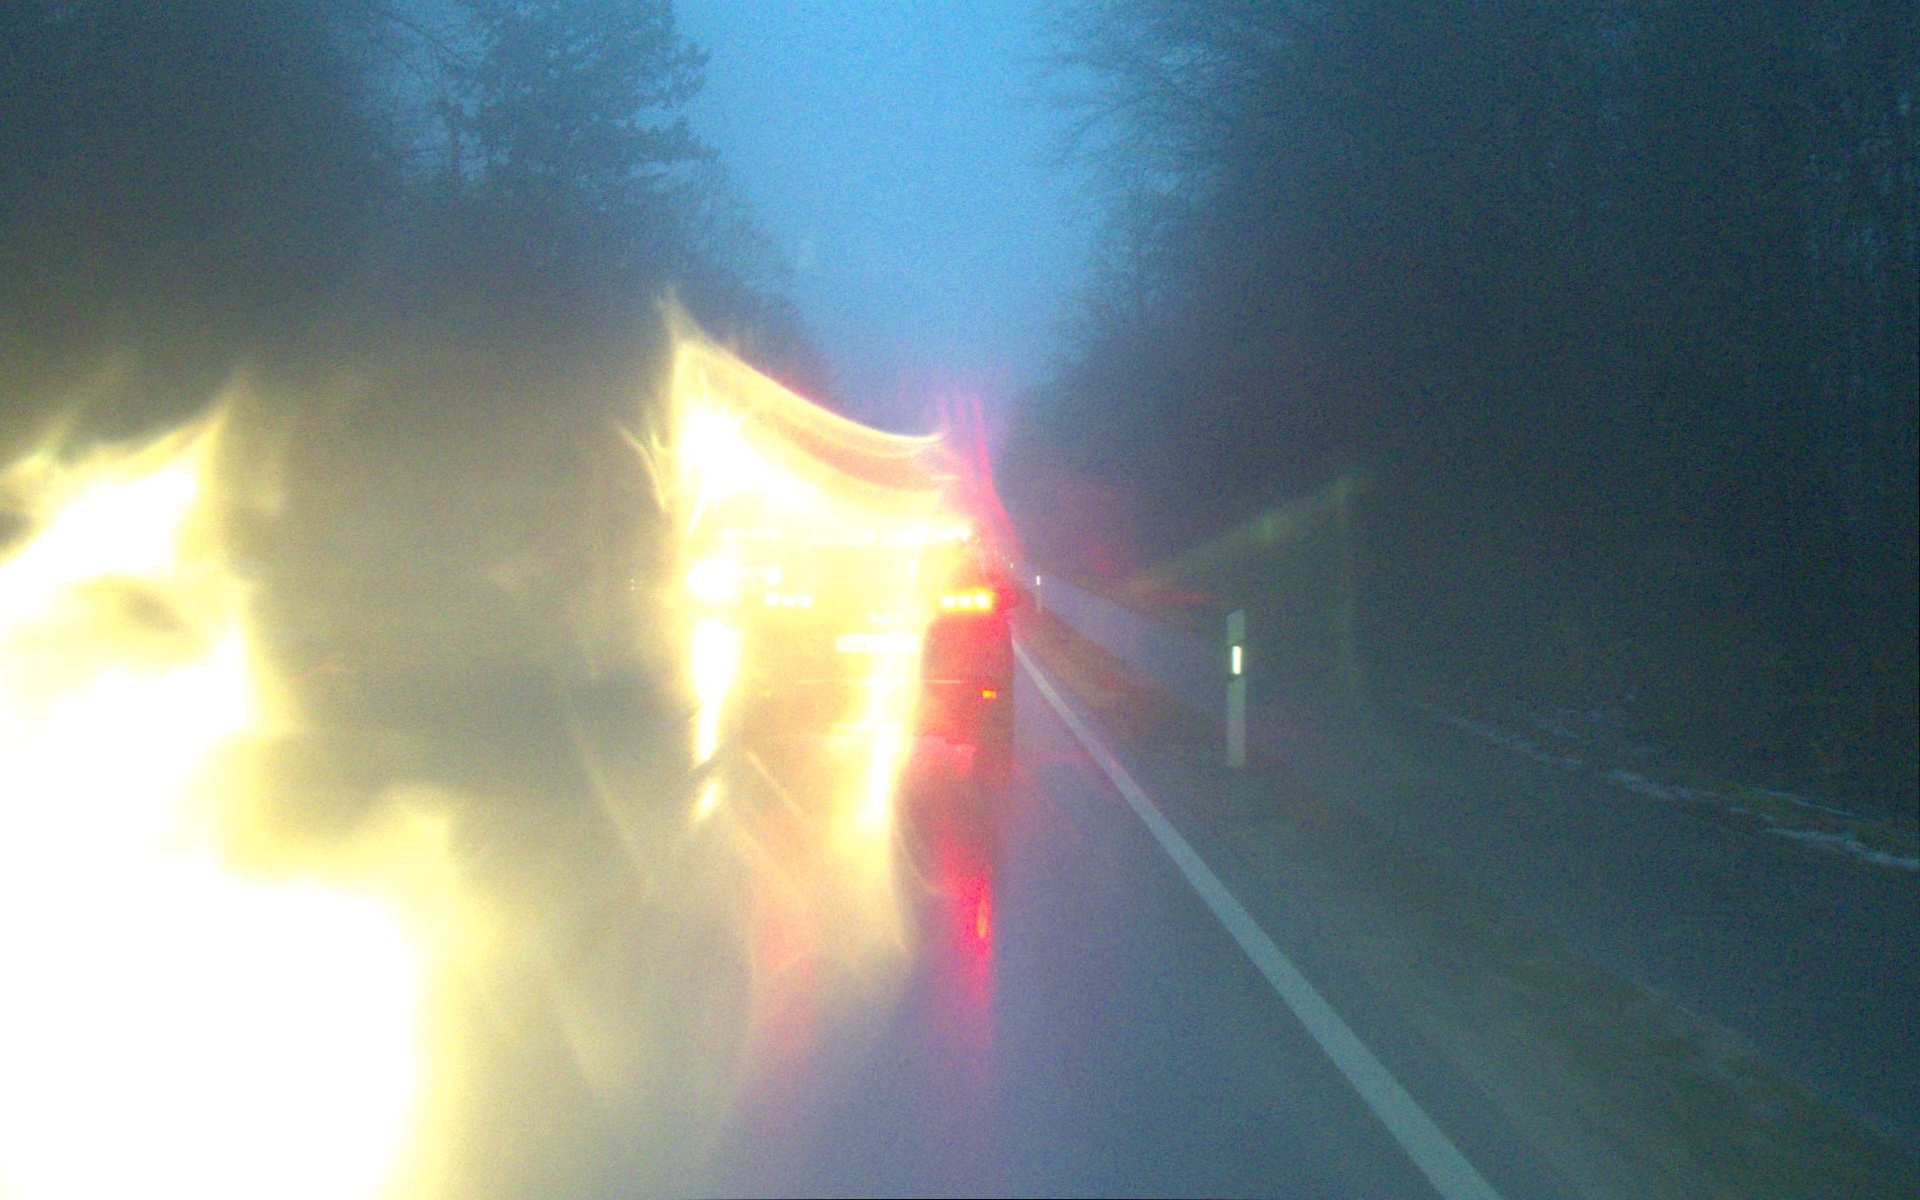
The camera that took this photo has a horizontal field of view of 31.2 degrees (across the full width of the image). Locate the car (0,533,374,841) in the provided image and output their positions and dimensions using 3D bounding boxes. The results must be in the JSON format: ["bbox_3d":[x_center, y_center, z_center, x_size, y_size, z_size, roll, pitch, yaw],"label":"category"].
[{"bbox_3d":[-4.391,0.401,18.626,1.754,1.453,3.637,-2,1,0],"label":"car"}]

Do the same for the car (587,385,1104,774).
[{"bbox_3d":[-0.712,-0.184,24.659,3.183,2.378,6.636,1,1,0],"label":"car"}]

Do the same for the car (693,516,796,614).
[{"bbox_3d":[-4.310,-0.716,69.343,1.797,1.875,4.426,-2,1,-1],"label":"car"}]
